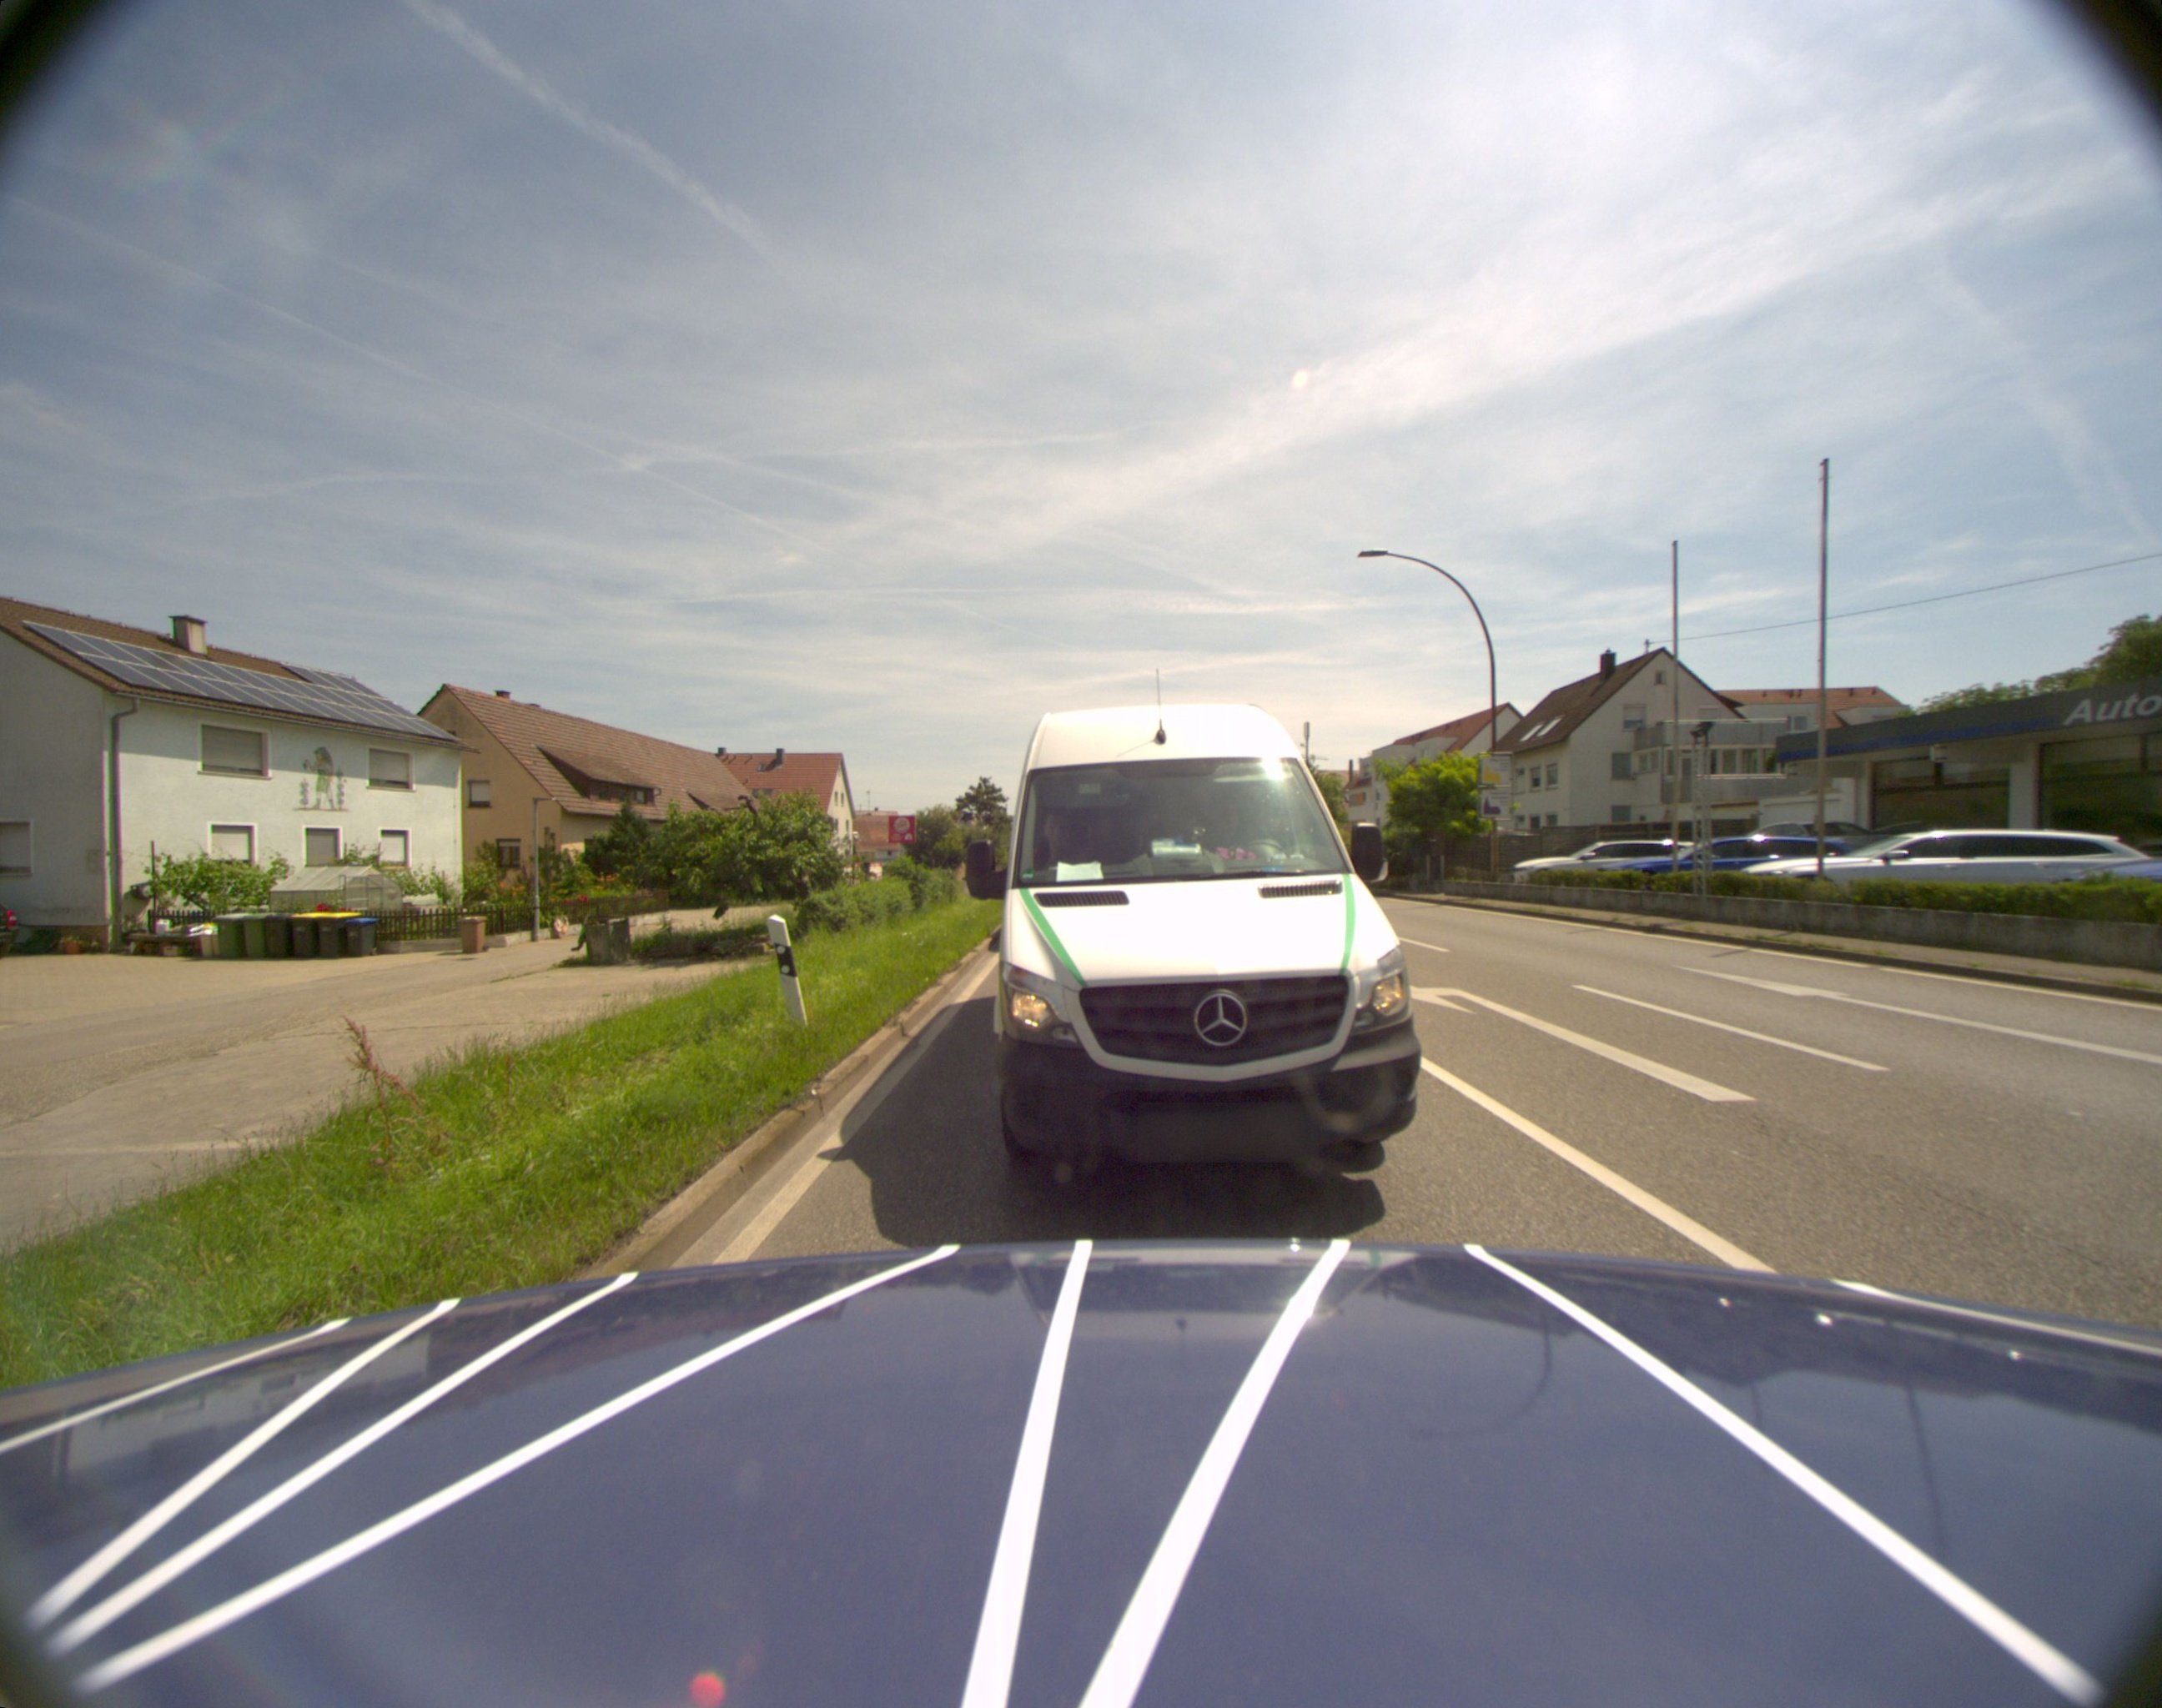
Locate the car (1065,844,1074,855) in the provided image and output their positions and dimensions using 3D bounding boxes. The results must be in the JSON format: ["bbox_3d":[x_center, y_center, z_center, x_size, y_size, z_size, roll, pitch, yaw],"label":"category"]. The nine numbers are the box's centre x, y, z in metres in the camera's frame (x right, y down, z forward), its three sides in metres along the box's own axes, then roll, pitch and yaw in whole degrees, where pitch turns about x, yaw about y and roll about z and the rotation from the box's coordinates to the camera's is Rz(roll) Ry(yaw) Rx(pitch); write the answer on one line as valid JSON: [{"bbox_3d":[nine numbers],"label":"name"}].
[{"bbox_3d":[-2.643,-1.027,182.800,1.998,2.573,3.999,-2,1,0],"label":"car"}]

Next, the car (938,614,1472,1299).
[{"bbox_3d":[0.469,0.381,5.721,1.939,2.514,5.748,-2,0,0],"label":"car"}]

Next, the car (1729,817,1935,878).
[{"bbox_3d":[20.891,-0.179,21.461,1.807,1.456,4.585,-2,0,10],"label":"car"}]

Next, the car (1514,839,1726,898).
[{"bbox_3d":[14.643,0.420,21.010,4.568,1.439,1.860,-2,1,29],"label":"car"}]

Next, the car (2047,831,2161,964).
[{"bbox_3d":[14.493,0.428,8.408,4.331,1.439,1.860,-2,1,26],"label":"car"}]

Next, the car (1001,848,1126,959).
[{"bbox_3d":[-0.289,0.784,14.430,1.884,1.652,4.625,-3,0,0],"label":"car"}]

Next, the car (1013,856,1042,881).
[{"bbox_3d":[-3.474,0.933,50.031,1.636,1.476,3.551,-4,1,-1],"label":"car"}]

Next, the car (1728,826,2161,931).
[{"bbox_3d":[14.120,0.444,12.862,4.505,1.439,1.860,-4,0,30],"label":"car"}]

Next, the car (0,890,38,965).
[{"bbox_3d":[-26.795,1.725,17.196,3.957,1.683,1.844,0,1,3],"label":"car"}]

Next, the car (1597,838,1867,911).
[{"bbox_3d":[14.359,0.450,17.140,4.331,1.439,1.860,-2,1,29],"label":"car"}]
